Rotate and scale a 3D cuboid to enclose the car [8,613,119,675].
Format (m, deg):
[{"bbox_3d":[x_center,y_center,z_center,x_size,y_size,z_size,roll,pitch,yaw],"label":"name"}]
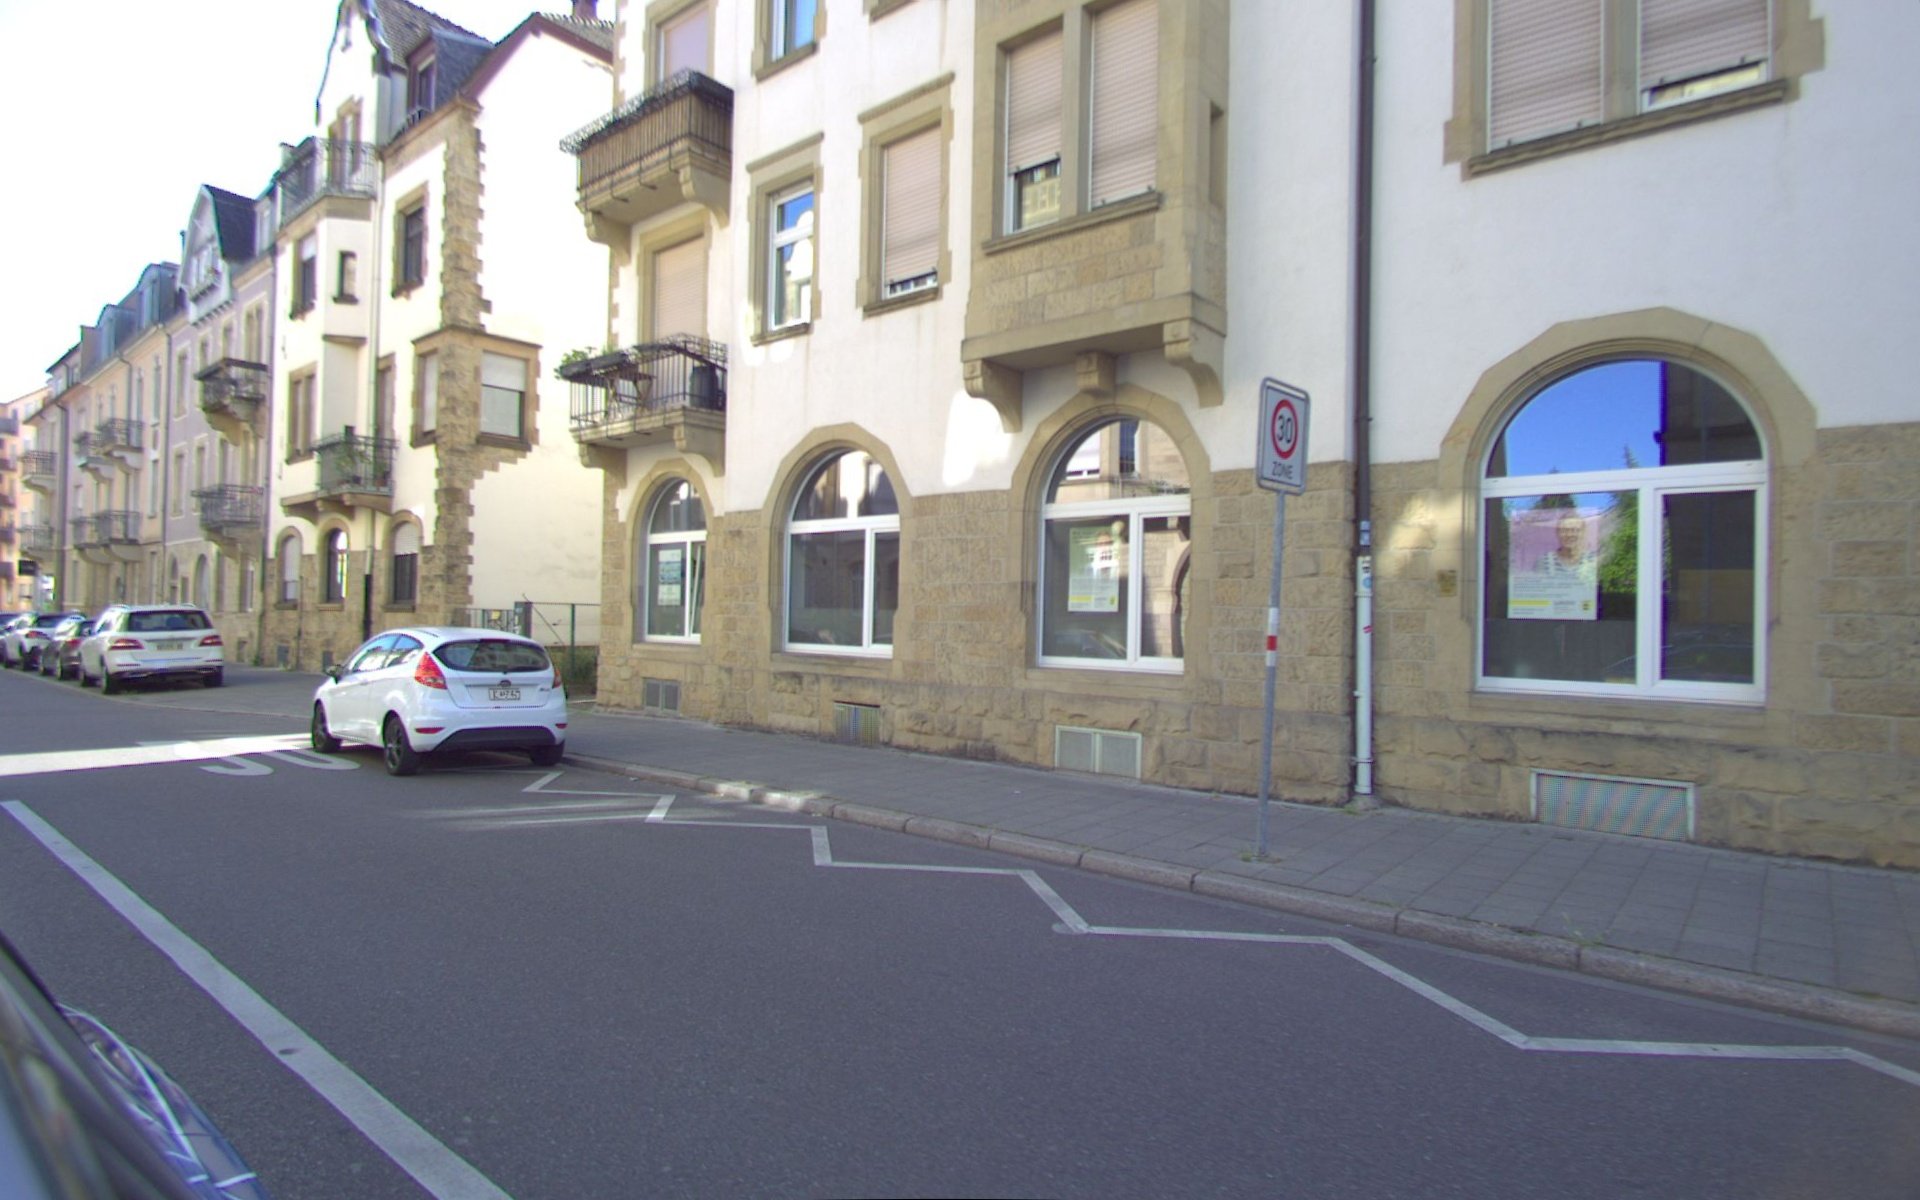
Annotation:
[{"bbox_3d":[-25.693,1.203,28.957,4.345,1.529,1.892,0,2,42],"label":"car"}]

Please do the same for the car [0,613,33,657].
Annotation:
[{"bbox_3d":[-36.226,1.287,37.843,4.345,1.529,1.892,0,2,42],"label":"car"}]

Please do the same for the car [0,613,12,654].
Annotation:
[{"bbox_3d":[-41.019,1.413,42.123,4.345,1.636,1.892,0,2,42],"label":"car"}]

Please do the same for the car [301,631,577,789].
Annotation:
[{"bbox_3d":[-5.797,1.087,11.092,3.571,1.422,1.535,-1,-4,43],"label":"car"}]

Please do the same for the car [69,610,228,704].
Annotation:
[{"bbox_3d":[-16.974,1.085,21.103,4.345,1.671,1.892,0,2,42],"label":"car"}]

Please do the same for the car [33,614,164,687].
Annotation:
[{"bbox_3d":[-21.349,1.170,25.029,4.345,1.529,1.892,0,2,42],"label":"car"}]
